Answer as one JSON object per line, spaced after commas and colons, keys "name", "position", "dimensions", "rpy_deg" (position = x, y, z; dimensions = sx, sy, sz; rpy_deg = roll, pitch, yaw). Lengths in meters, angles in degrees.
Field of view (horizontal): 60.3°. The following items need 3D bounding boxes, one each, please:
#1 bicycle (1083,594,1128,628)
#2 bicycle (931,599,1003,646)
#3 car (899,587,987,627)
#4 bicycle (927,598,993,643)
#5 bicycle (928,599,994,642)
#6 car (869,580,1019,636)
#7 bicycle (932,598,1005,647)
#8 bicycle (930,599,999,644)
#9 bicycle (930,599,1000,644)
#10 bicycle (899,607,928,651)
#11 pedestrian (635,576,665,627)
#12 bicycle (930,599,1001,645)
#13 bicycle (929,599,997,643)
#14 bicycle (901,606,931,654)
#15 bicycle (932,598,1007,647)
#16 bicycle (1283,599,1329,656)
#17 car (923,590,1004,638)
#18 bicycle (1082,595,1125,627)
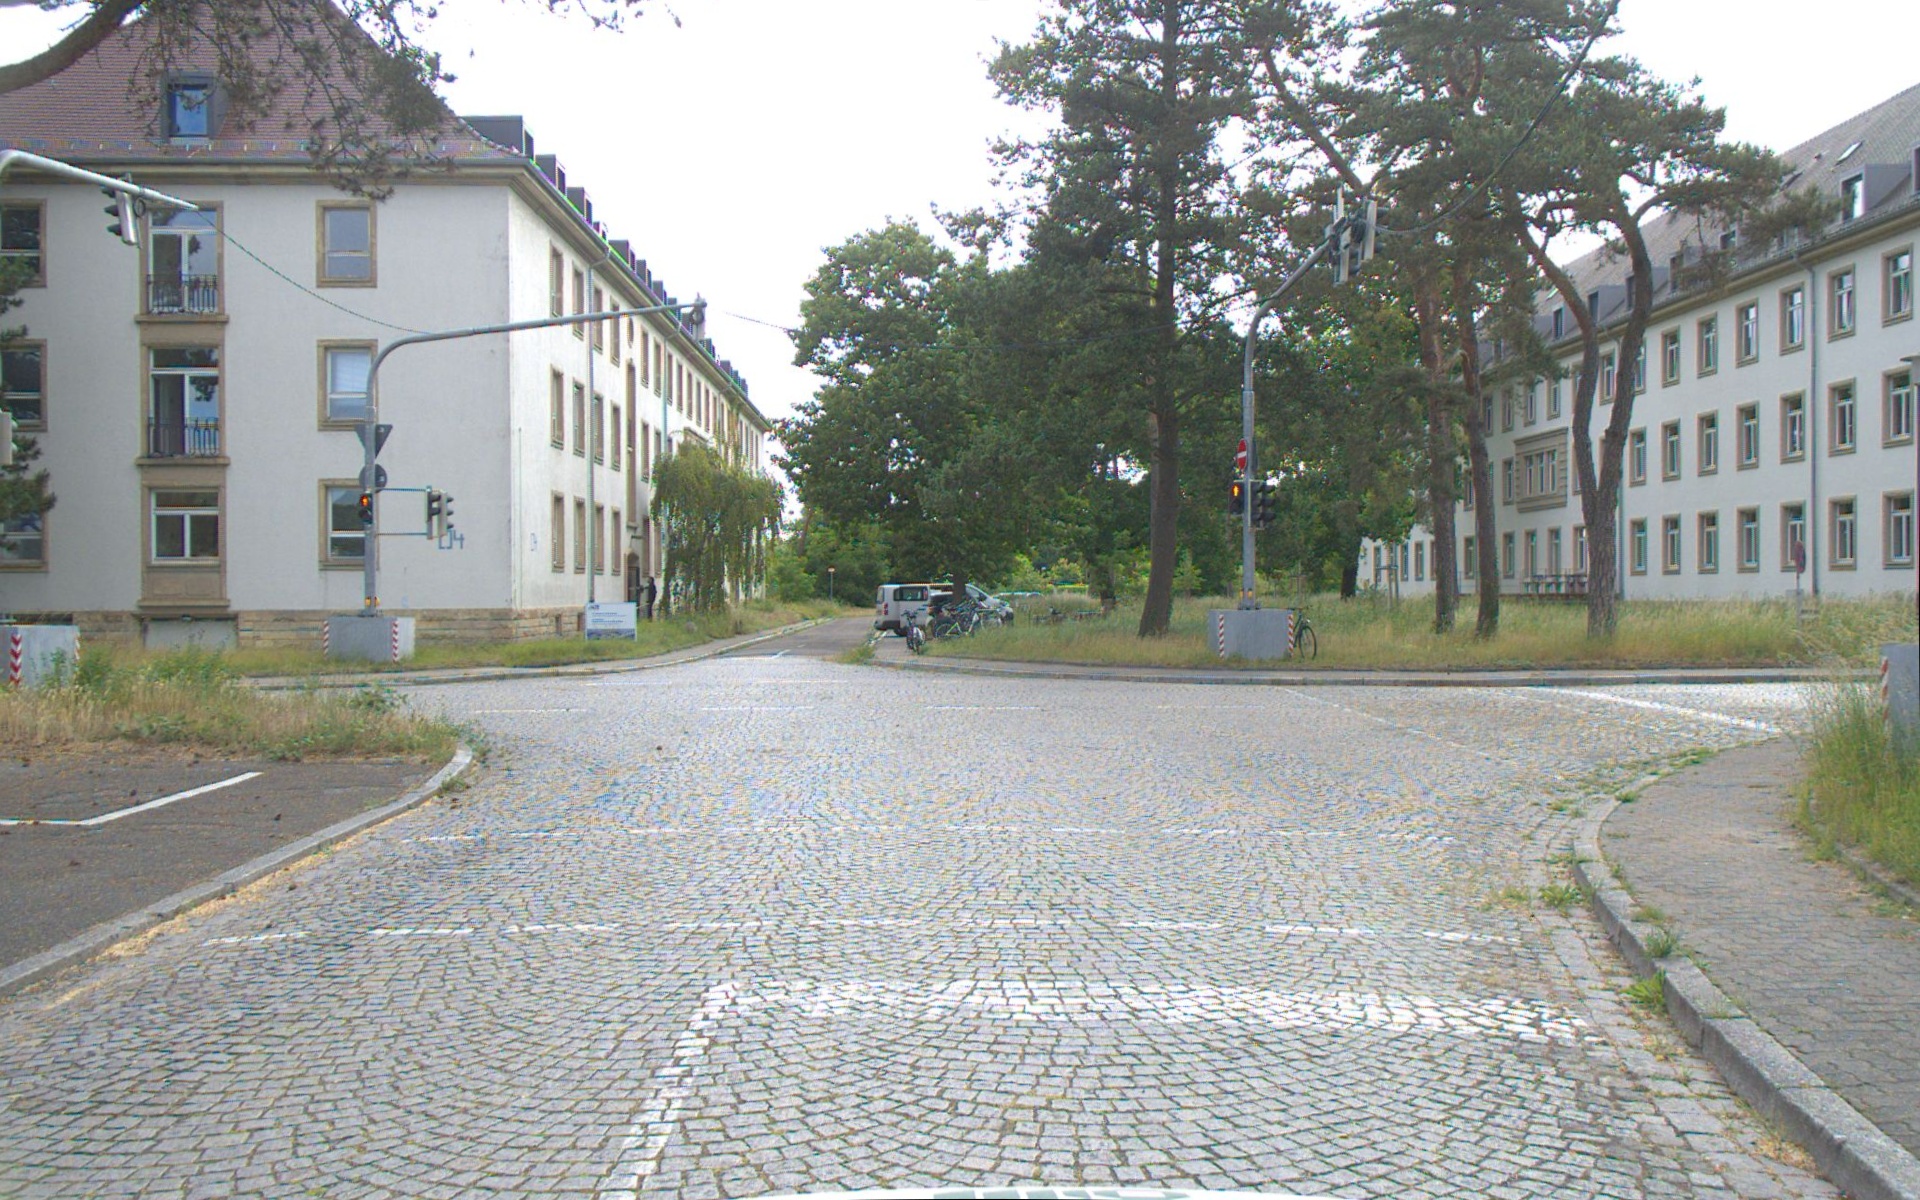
{"name": "bicycle", "position": [5.057, 0.385, 57.548], "dimensions": [1.517, 1.144, 0.401], "rpy_deg": [0, 0, 0]}
{"name": "bicycle", "position": [0.181, 0.605, 45.418], "dimensions": [1.943, 1.269, 0.624], "rpy_deg": [1, 0, -3]}
{"name": "car", "position": [-0.798, 0.309, 75.831], "dimensions": [3.951, 1.748, 1.680], "rpy_deg": [-1, 0, -3]}
{"name": "bicycle", "position": [-0.009, 0.617, 50.177], "dimensions": [1.943, 1.269, 0.624], "rpy_deg": [-2, 0, -3]}
{"name": "bicycle", "position": [0.013, 0.615, 49.518], "dimensions": [1.943, 1.269, 0.624], "rpy_deg": [1, 0, -3]}
{"name": "car", "position": [-0.607, 0.272, 61.947], "dimensions": [5.218, 1.949, 2.140], "rpy_deg": [-1, 0, -16]}
{"name": "bicycle", "position": [0.225, 0.603, 44.493], "dimensions": [1.943, 1.269, 0.624], "rpy_deg": [1, 0, -3]}
{"name": "bicycle", "position": [0.136, 0.610, 47.435], "dimensions": [1.943, 1.269, 0.624], "rpy_deg": [1, 0, -3]}
{"name": "bicycle", "position": [0.137, 0.609, 46.910], "dimensions": [1.943, 1.269, 0.624], "rpy_deg": [1, 0, -3]}
{"name": "bicycle", "position": [-1.192, 0.731, 42.407], "dimensions": [0.609, 1.101, 1.678], "rpy_deg": [1, 0, 3]}
{"name": "pedestrian", "position": [-11.144, 0.062, 59.499], "dimensions": [0.819, 1.812, 0.941], "rpy_deg": [0, 0, 4]}
{"name": "bicycle", "position": [0.152, 0.607, 46.277], "dimensions": [1.943, 1.269, 0.624], "rpy_deg": [1, 0, -3]}
{"name": "bicycle", "position": [0.084, 0.613, 48.512], "dimensions": [1.943, 1.269, 0.624], "rpy_deg": [1, 0, -3]}
{"name": "bicycle", "position": [-1.064, 0.711, 40.456], "dimensions": [0.609, 1.133, 1.989], "rpy_deg": [1, 0, 2]}
{"name": "bicycle", "position": [0.245, 0.601, 43.865], "dimensions": [1.943, 1.269, 0.624], "rpy_deg": [1, 0, -3]}
{"name": "bicycle", "position": [6.603, 0.517, 31.599], "dimensions": [0.568, 0.987, 1.678], "rpy_deg": [-2, 2, 3]}
{"name": "car", "position": [0.096, 0.477, 58.488], "dimensions": [2.790, 1.585, 1.471], "rpy_deg": [-1, 1, -2]}
{"name": "bicycle", "position": [5.093, 0.386, 58.780], "dimensions": [1.517, 1.144, 0.401], "rpy_deg": [0, 0, 0]}
